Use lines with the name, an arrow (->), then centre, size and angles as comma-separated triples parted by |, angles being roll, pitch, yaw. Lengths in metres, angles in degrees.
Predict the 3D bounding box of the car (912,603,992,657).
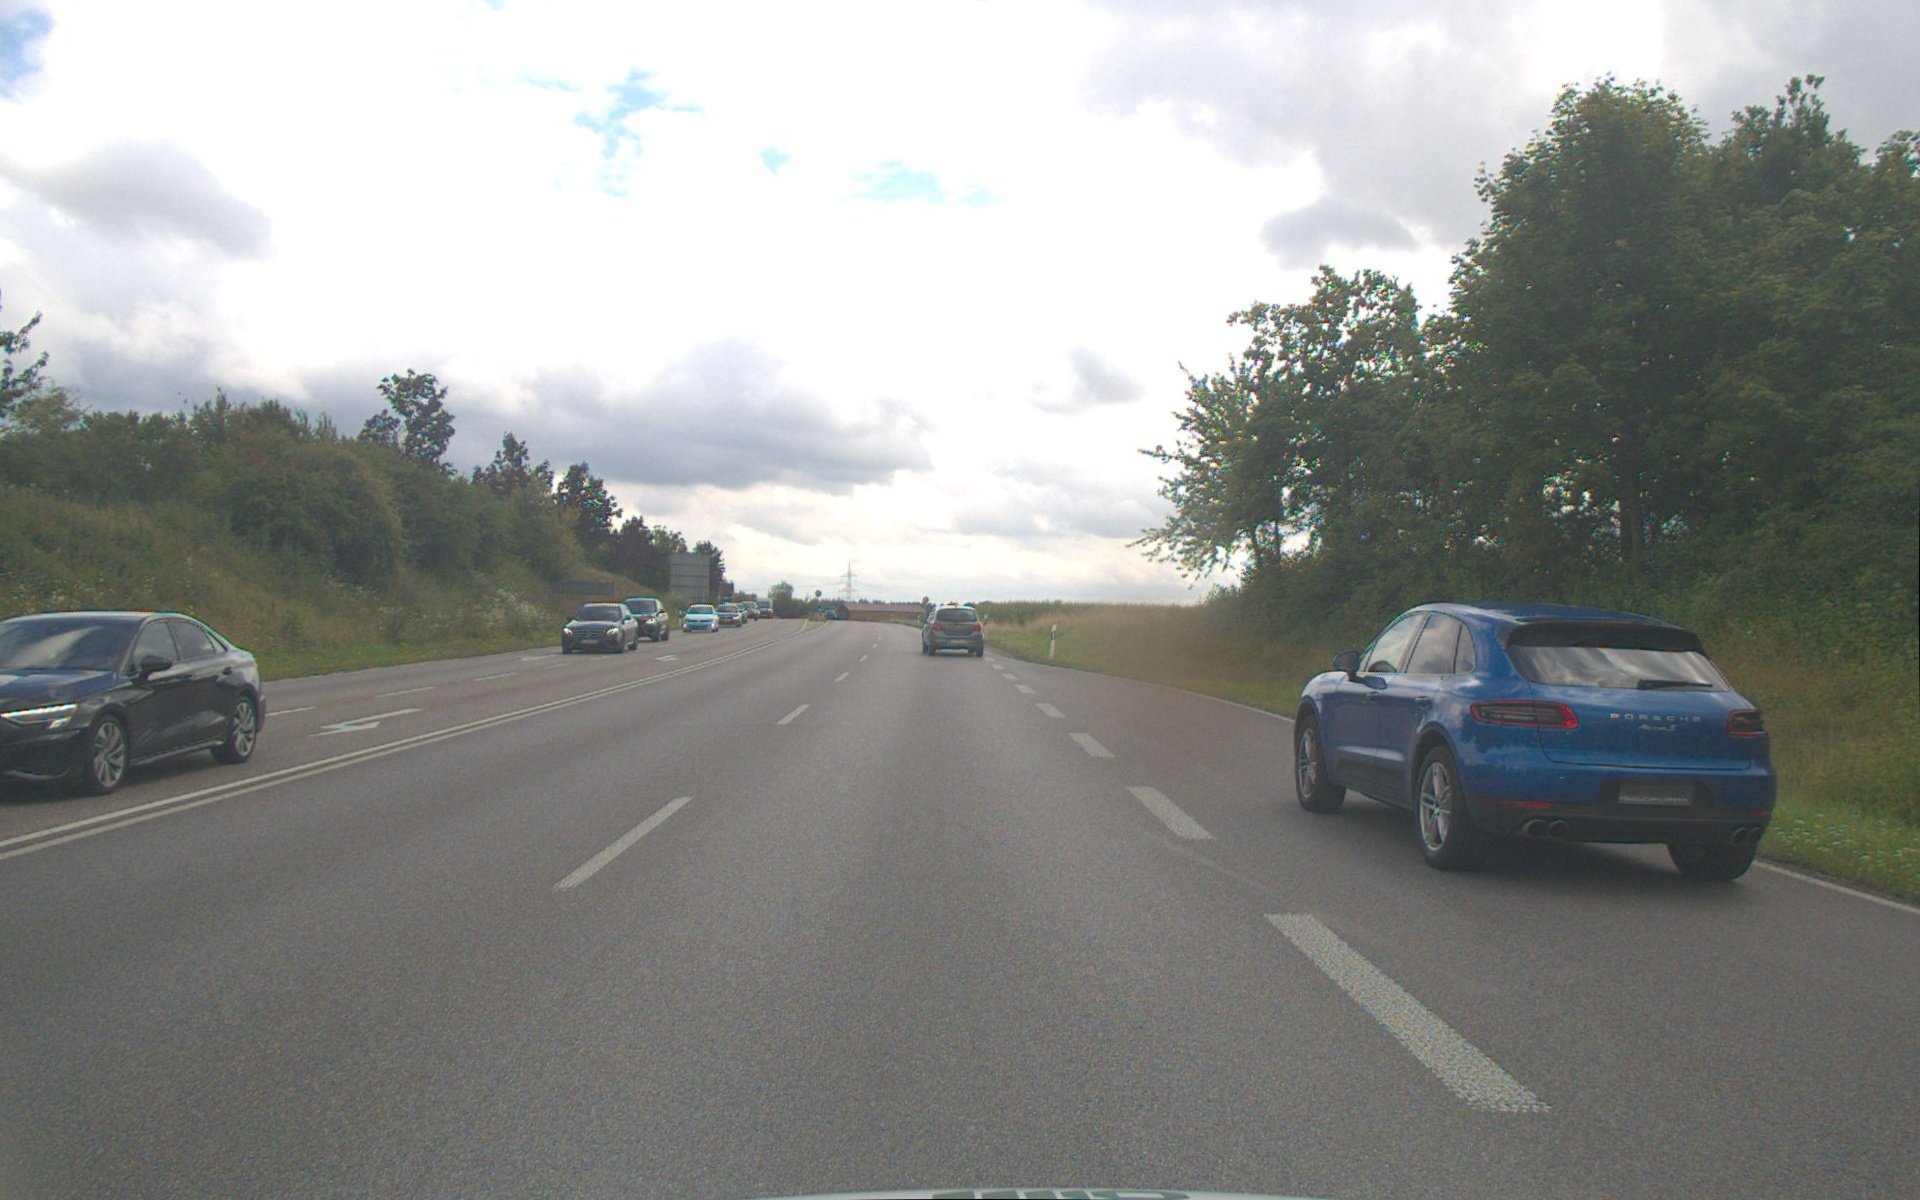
car -> -0.296, 0.888, 50.957 | 1.956, 1.562, 3.993 | 1, 0, -7

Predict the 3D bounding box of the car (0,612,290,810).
car -> -7.482, 0.818, 14.227 | 1.730, 1.407, 4.541 | 0, 0, -2

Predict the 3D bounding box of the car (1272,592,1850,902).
car -> 3.732, 0.809, 11.368 | 1.954, 1.598, 4.753 | 3, 0, -4

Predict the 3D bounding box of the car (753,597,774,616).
car -> -23.773, 0.812, 200.094 | 2.317, 2.250, 5.916 | 0, 0, -4

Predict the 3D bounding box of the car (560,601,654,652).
car -> -11.047, 0.789, 52.079 | 1.953, 1.520, 4.992 | 0, 0, -1

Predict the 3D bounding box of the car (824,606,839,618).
car -> -18.773, 1.747, 241.278 | 1.953, 1.745, 3.998 | 0, 0, -2

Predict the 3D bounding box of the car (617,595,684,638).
car -> -12.364, 0.648, 66.289 | 1.954, 1.639, 4.990 | 0, 0, -3

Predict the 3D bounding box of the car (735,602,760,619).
car -> -19.344, 0.967, 150.833 | 1.954, 1.534, 3.997 | 0, 0, -3

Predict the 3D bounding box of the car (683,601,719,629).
car -> -13.989, 0.801, 89.580 | 1.635, 1.467, 4.141 | 0, 0, -5

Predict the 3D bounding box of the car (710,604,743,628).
car -> -15.455, 1.057, 109.519 | 1.955, 1.534, 3.995 | 0, 0, -6
